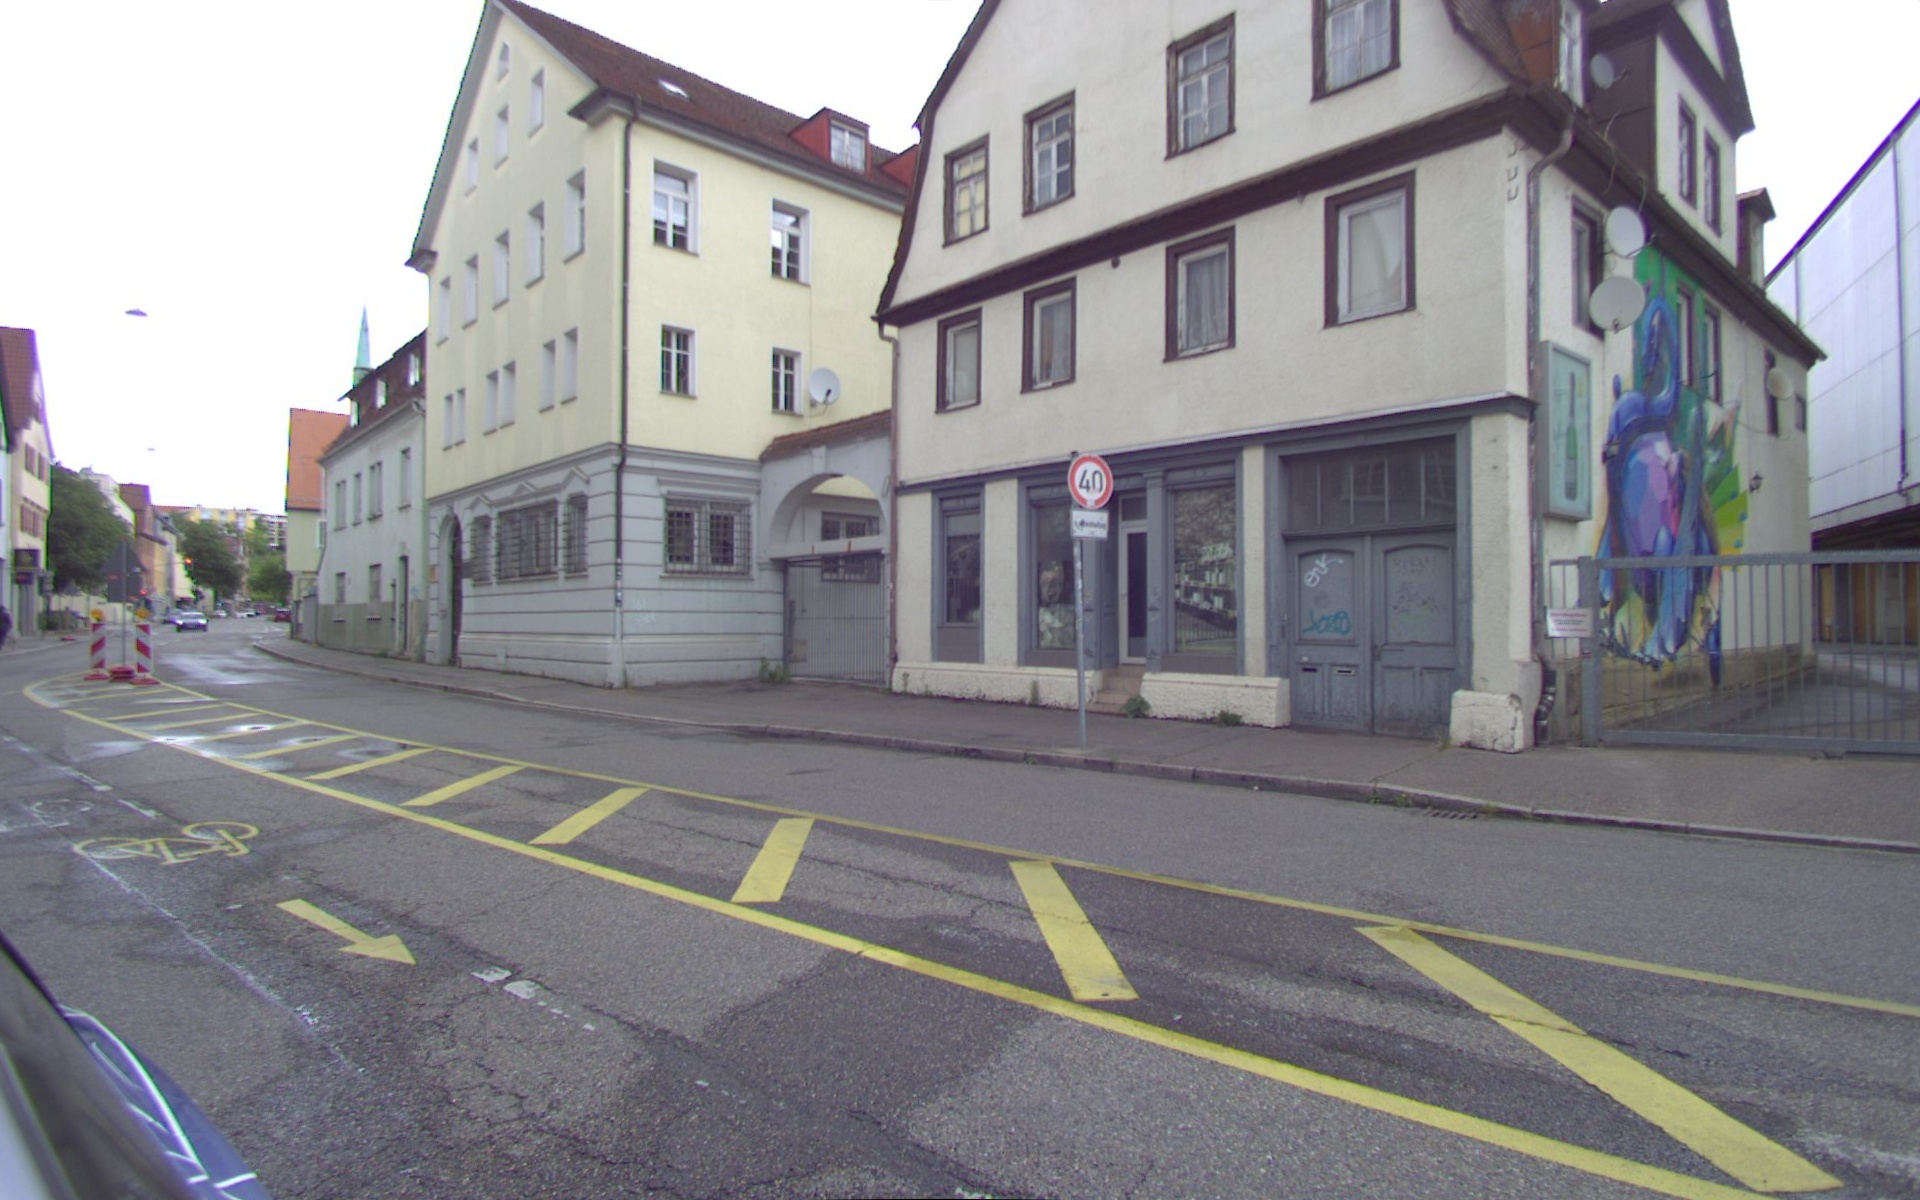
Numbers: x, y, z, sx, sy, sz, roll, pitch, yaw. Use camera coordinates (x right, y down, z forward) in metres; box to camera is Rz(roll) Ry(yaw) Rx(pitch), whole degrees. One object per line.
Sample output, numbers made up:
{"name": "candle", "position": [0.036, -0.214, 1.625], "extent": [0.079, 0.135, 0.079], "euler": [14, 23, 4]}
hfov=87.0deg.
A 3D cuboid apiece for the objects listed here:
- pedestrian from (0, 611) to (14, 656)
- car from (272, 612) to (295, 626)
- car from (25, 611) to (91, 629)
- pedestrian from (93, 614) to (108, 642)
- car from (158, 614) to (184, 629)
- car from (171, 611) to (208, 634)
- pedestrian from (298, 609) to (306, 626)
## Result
{"name": "pedestrian", "position": [-36.086, 1.244, 37.878], "extent": [0.820, 1.668, 0.946], "euler": [0, -2, -34]}
{"name": "car", "position": [-85.876, 2.439, 128.434], "extent": [2.178, 1.690, 4.509], "euler": [2, -2, -36]}
{"name": "car", "position": [-77.427, 1.728, 86.903], "extent": [3.932, 1.475, 2.006], "euler": [0, 0, -33]}
{"name": "pedestrian", "position": [-71.415, 2.339, 84.105], "extent": [0.888, 2.328, 0.822], "euler": [1, -2, -36]}
{"name": "car", "position": [-84.968, 2.276, 109.004], "extent": [2.001, 1.567, 4.010], "euler": [2, -2, -35]}
{"name": "car", "position": [-57.889, 1.663, 76.064], "extent": [1.967, 1.691, 4.010], "euler": [0, 0, -34]}
{"name": "pedestrian", "position": [-79.262, 2.132, 121.918], "extent": [0.823, 2.029, 0.847], "euler": [1, -2, -36]}
